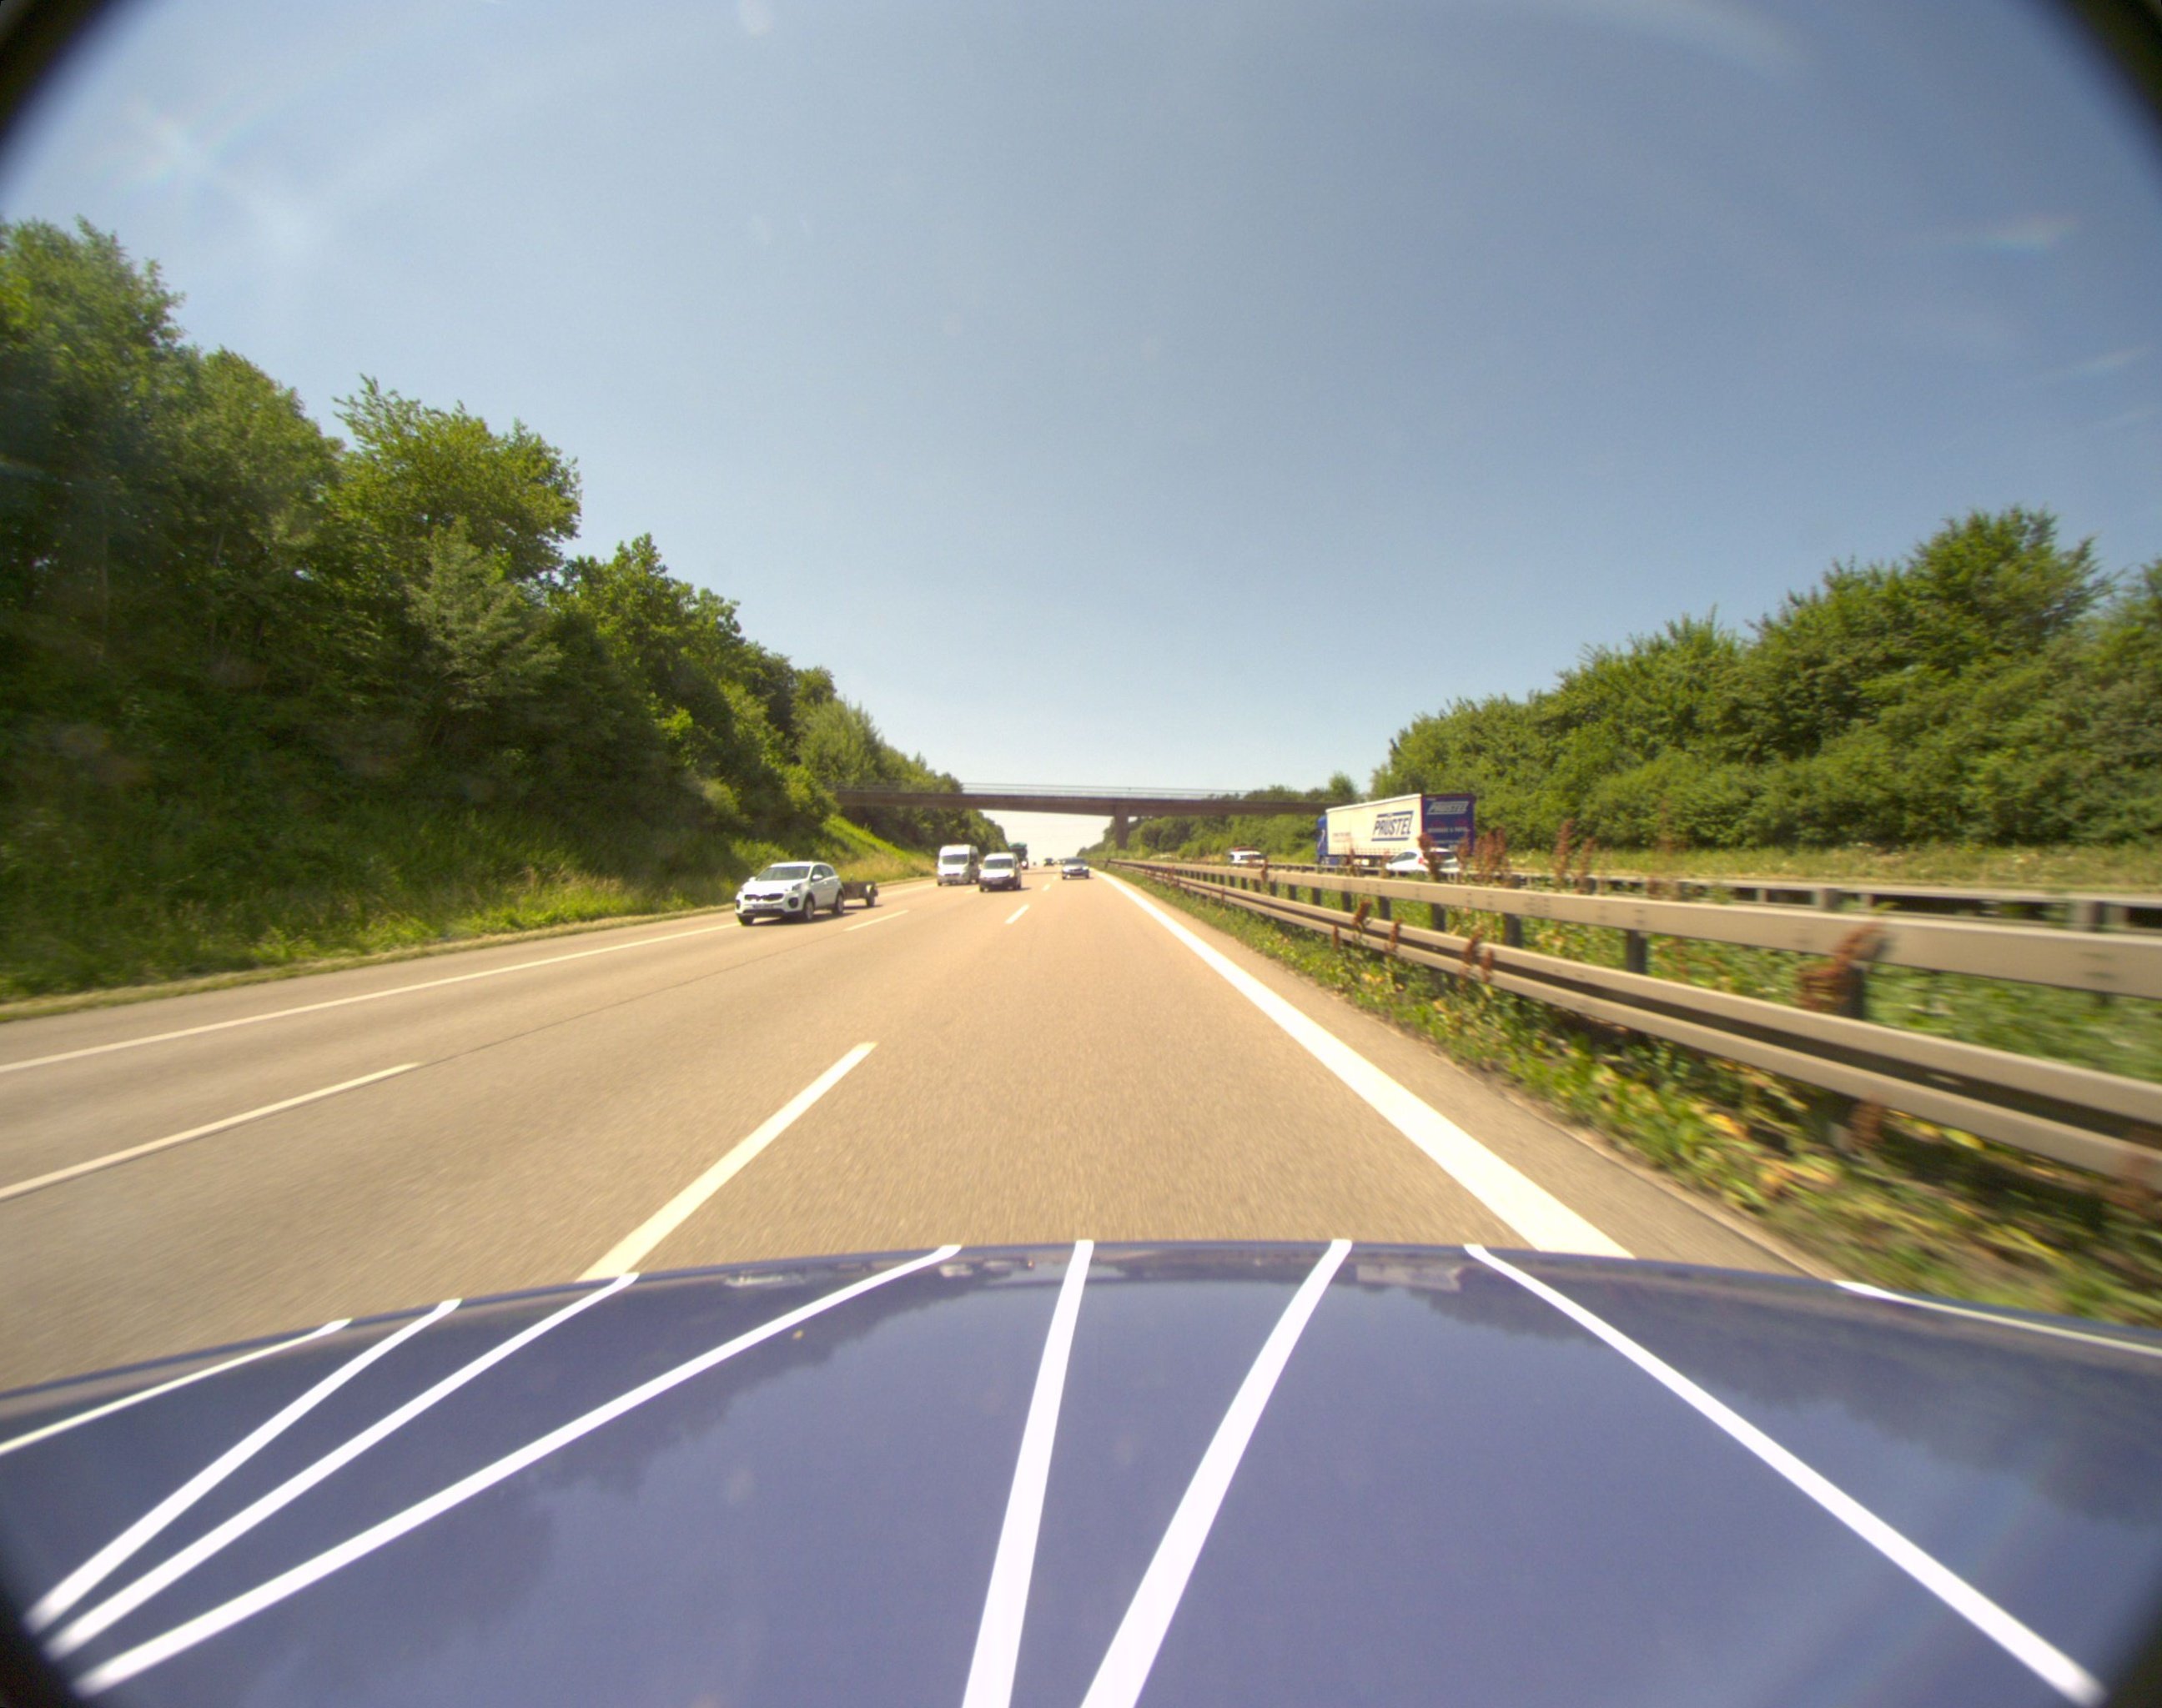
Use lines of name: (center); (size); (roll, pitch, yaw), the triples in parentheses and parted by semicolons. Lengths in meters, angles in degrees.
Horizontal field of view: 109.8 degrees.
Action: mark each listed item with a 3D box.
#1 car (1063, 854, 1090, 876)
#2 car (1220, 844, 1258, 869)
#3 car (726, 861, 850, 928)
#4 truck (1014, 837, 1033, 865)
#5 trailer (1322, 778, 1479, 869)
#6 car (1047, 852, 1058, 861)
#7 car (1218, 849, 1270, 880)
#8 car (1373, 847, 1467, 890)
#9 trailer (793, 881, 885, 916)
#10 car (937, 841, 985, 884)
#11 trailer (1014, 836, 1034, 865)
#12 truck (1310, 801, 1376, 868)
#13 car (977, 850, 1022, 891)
car: (-0.285, 0.750, 51.596); (1.768, 1.400, 4.000); (-2, -1, 0)
car: (12.912, 0.172, 62.428); (1.865, 1.869, 5.824); (-2, 0, 0)
car: (-8.153, 1.061, 21.605); (1.785, 1.641, 4.403); (-2, -1, 0)
truck: (-8.111, -0.369, 106.966); (2.517, 3.819, 4.891); (-2, -1, -4)
trailer: (17.411, -1.340, 43.226); (2.641, 4.228, 14.677); (-2, -1, 0)
car: (-5.289, 0.537, 141.009); (1.788, 1.550, 3.942); (-2, -1, -5)
car: (8.736, 0.582, 41.112); (1.680, 1.545, 4.391); (-2, -1, -2)
car: (12.706, 0.515, 28.771); (1.585, 1.454, 4.357); (-2, 0, 0)
trailer: (-8.138, 1.462, 25.995); (1.759, 0.903, 4.319); (-2, 0, -1)
car: (-7.671, 0.562, 49.268); (2.095, 2.560, 6.622); (-2, -1, -1)
trailer: (-8.387, -0.405, 112.139); (2.594, 4.003, 10.468); (-2, -1, -3)
truck: (17.293, -1.191, 50.428); (2.499, 4.094, 5.084); (-2, -1, 0)
car: (-3.970, 0.776, 37.711); (1.750, 1.819, 4.800); (-2, 0, -1)
